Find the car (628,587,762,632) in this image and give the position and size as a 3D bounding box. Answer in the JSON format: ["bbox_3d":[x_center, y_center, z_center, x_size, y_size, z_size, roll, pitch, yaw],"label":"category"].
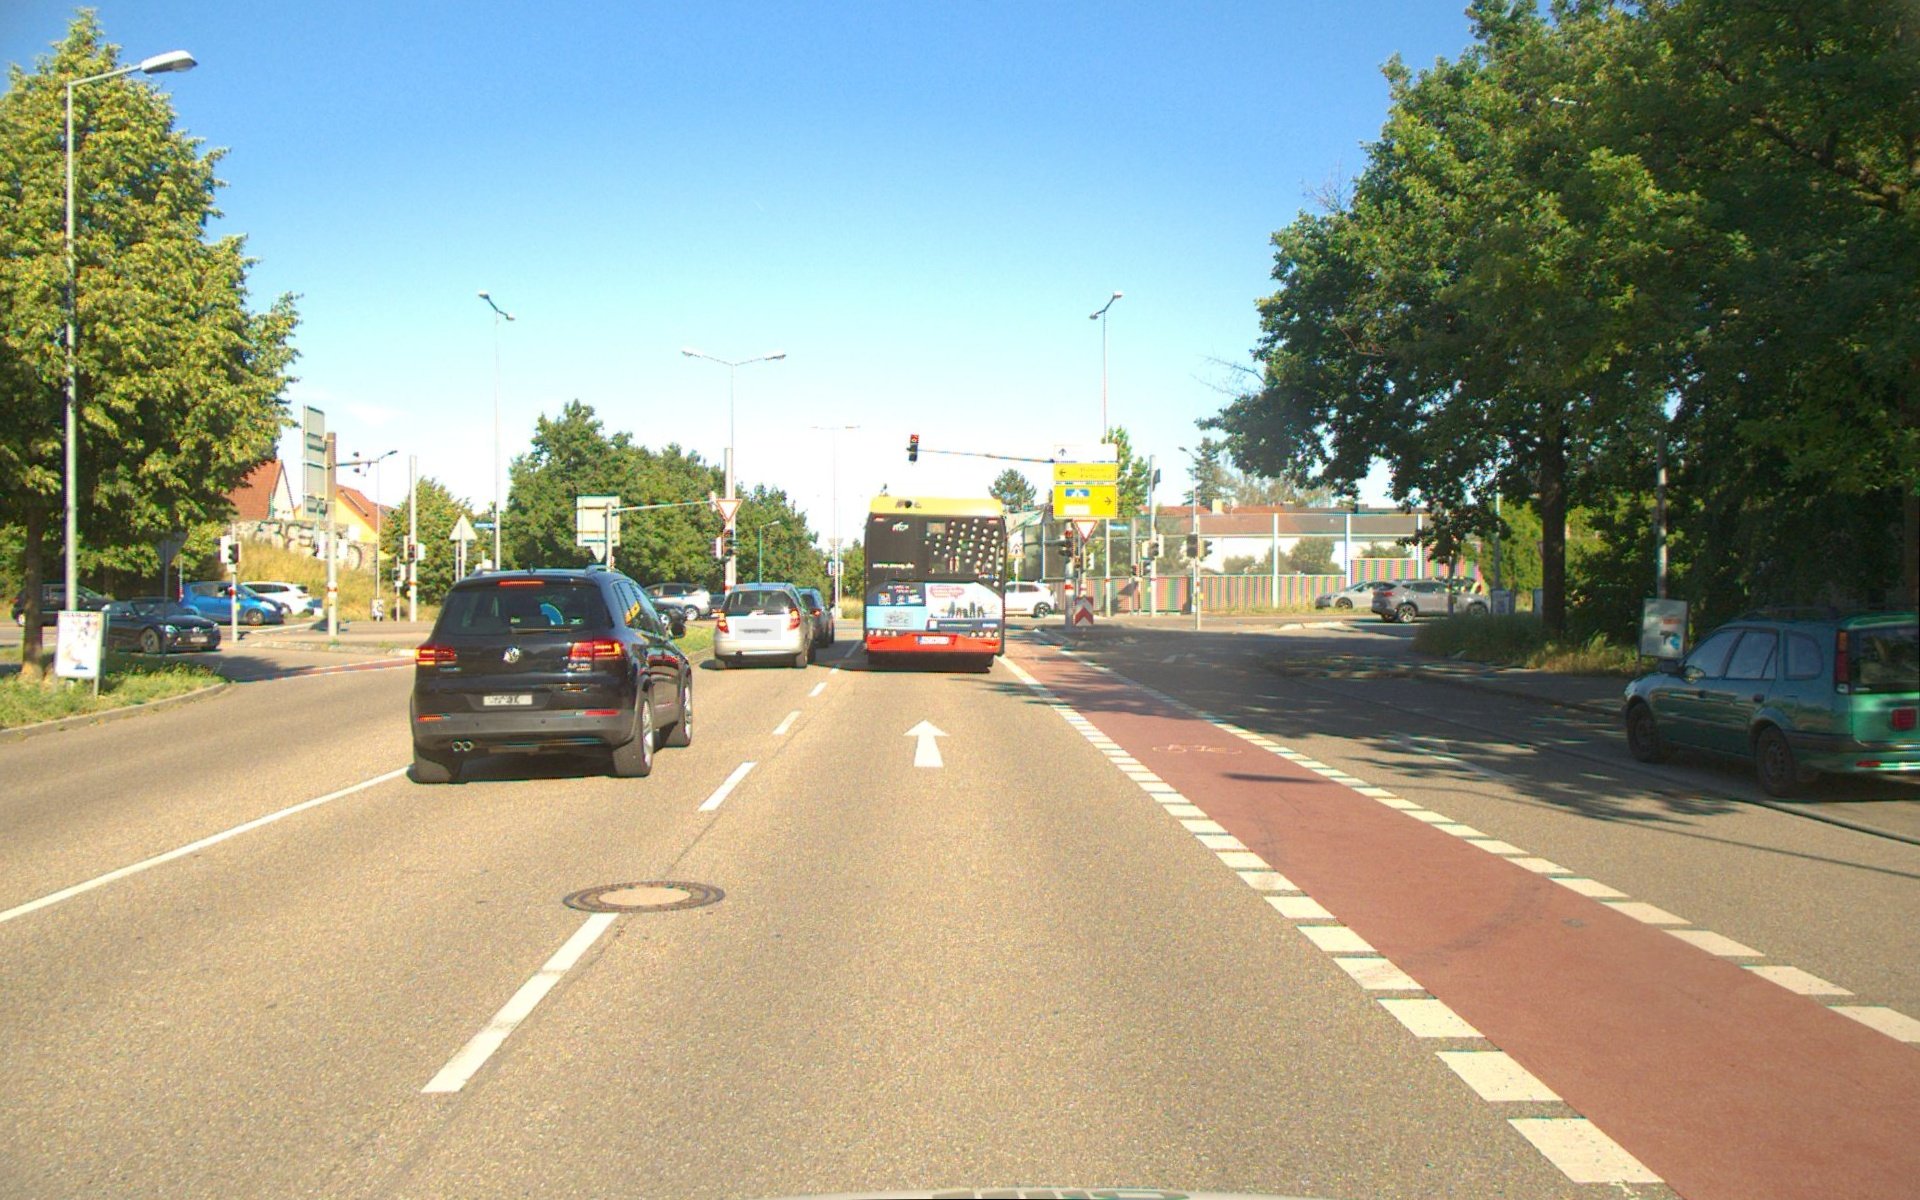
[{"bbox_3d":[-8.965,0.309,56.136,4.376,1.466,1.680,-1,1,-6],"label":"car"}]

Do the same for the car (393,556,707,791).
[{"bbox_3d":[-3.355,0.564,14.311,1.784,1.703,4.001,-1,-1,-2],"label":"car"}]

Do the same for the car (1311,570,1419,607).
[{"bbox_3d":[17.720,-0.500,72.483,4.327,1.485,1.573,1,-1,-5],"label":"car"}]

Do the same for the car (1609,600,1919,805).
[{"bbox_3d":[7.188,0.749,14.159,1.560,1.453,4.203,-1,0,0],"label":"car"}]

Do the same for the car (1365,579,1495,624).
[{"bbox_3d":[16.906,0.052,59.611,4.140,1.506,1.761,1,-1,-6],"label":"car"}]

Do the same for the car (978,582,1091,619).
[{"bbox_3d":[3.152,0.023,70.731,4.610,1.567,1.998,0,0,-5],"label":"car"}]

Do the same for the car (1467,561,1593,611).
[{"bbox_3d":[16.012,-0.381,46.462,3.355,1.318,1.448,1,-1,-27],"label":"car"}]

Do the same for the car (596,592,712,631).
[{"bbox_3d":[-12.632,0.479,68.571,4.613,1.567,1.997,0,0,-7],"label":"car"}]

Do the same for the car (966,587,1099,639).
[{"bbox_3d":[1.983,0.336,44.642,3.447,1.325,1.576,0,0,7],"label":"car"}]

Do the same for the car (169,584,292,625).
[{"bbox_3d":[-26.725,0.158,60.676,3.776,1.409,1.679,1,-1,-10],"label":"car"}]

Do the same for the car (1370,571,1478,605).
[{"bbox_3d":[19.451,-0.485,69.349,4.078,1.325,1.573,1,-1,-5],"label":"car"}]

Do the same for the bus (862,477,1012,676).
[{"bbox_3d":[-0.516,-0.452,34.670,2.543,3.393,11.981,1,0,-1],"label":"bus"}]

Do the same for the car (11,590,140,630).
[{"bbox_3d":[-31.956,0.372,59.808,3.776,1.336,1.504,1,-1,-10],"label":"car"}]

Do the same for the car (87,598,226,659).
[{"bbox_3d":[-21.411,0.769,43.993,1.985,1.427,4.513,-4,1,-44],"label":"car"}]

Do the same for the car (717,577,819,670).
[{"bbox_3d":[-3.694,0.397,32.370,1.719,1.648,4.031,0,2,-3],"label":"car"}]

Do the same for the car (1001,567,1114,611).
[{"bbox_3d":[3.756,-0.404,64.121,4.140,1.590,1.761,1,-1,-6],"label":"car"}]

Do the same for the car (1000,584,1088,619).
[{"bbox_3d":[3.899,0.055,77.201,3.911,1.640,1.693,0,0,-7],"label":"car"}]

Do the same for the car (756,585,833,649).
[{"bbox_3d":[-4.042,0.414,40.741,1.556,1.511,3.681,0,0,-1],"label":"car"}]

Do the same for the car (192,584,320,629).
[{"bbox_3d":[-28.076,0.263,66.060,4.298,1.713,1.710,1,-1,-5],"label":"car"}]
